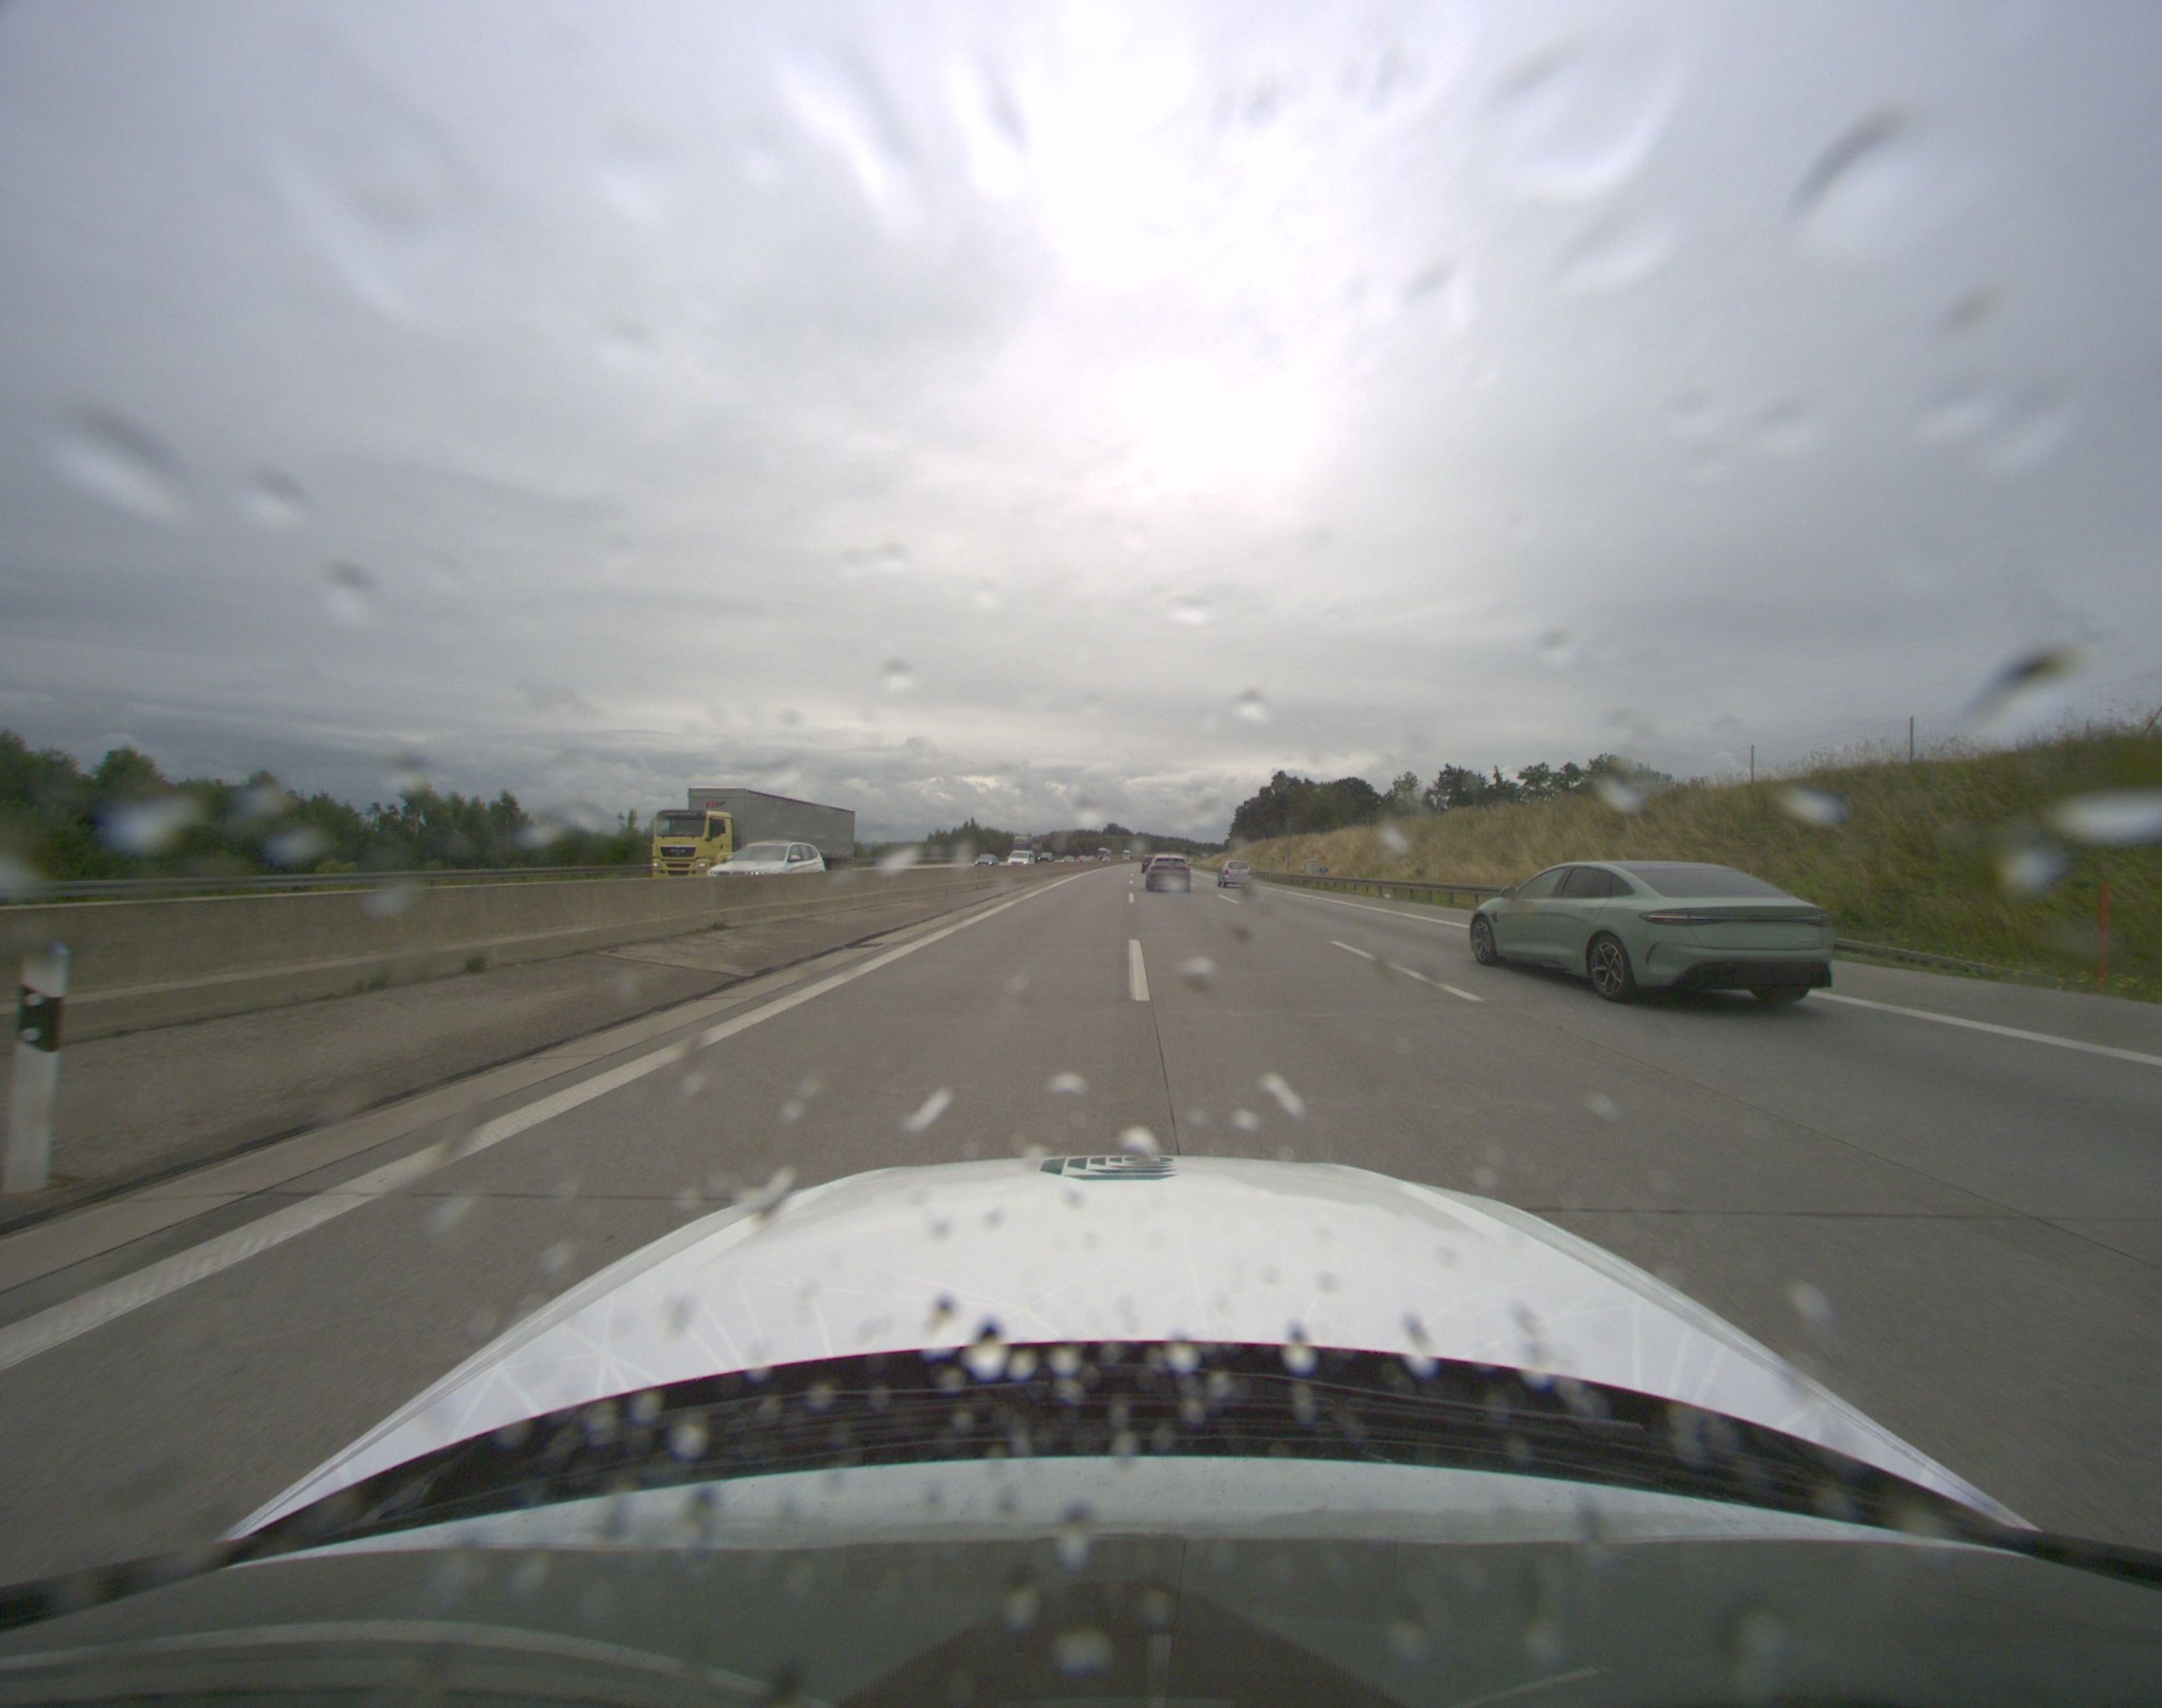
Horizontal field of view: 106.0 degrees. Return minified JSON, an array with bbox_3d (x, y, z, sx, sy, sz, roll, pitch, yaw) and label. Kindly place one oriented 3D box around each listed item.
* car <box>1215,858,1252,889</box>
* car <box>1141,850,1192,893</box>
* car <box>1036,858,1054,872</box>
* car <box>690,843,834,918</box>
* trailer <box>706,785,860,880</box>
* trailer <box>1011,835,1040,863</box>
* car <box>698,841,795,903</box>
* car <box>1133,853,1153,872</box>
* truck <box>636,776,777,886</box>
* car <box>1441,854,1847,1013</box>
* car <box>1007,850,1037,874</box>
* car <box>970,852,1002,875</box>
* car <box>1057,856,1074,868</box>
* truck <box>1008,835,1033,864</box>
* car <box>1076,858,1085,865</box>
[{"bbox_3d":[8.153,1.025,43.666,1.479,1.470,3.507,2,1,3],"label":"car"},{"bbox_3d":[3.759,0.710,36.471,1.891,1.689,5.268,-1,1,2],"label":"car"},{"bbox_3d":[-5.268,1.638,120.677,1.985,1.973,5.337,-1,1,4],"label":"car"},{"bbox_3d":[-8.762,0.665,22.883,2.026,1.867,4.607,-1,0,3],"label":"car"},{"bbox_3d":[-14.935,-1.051,42.343,2.906,4.217,11.885,-1,1,4],"label":"trailer"},{"bbox_3d":[-8.880,-0.840,131.498,2.753,4.281,12.182,3,1,4],"label":"trailer"},{"bbox_3d":[-11.775,0.568,28.956,1.639,2.013,4.002,-1,1,2],"label":"car"},{"bbox_3d":[5.931,0.770,77.429,1.776,1.747,3.921,-1,1,5],"label":"car"},{"bbox_3d":[-15.379,-0.924,34.002,2.920,4.180,5.861,-1,1,2],"label":"truck"},{"bbox_3d":[6.482,0.775,10.237,2.006,1.445,4.748,-1,1,3],"label":"car"},{"bbox_3d":[-5.240,0.650,72.839,1.906,2.013,5.930,-1,1,3],"label":"car"},{"bbox_3d":[-8.852,0.845,76.580,1.906,2.013,5.930,-1,1,3],"label":"car"},{"bbox_3d":[-2.177,1.113,115.232,1.985,1.519,4.400,-1,1,3],"label":"car"},{"bbox_3d":[-9.332,-0.728,125.798,2.776,4.262,6.057,3,1,4],"label":"truck"},{"bbox_3d":[-0.063,1.742,180.027,1.710,1.508,4.491,1,-1,4],"label":"car"}]
